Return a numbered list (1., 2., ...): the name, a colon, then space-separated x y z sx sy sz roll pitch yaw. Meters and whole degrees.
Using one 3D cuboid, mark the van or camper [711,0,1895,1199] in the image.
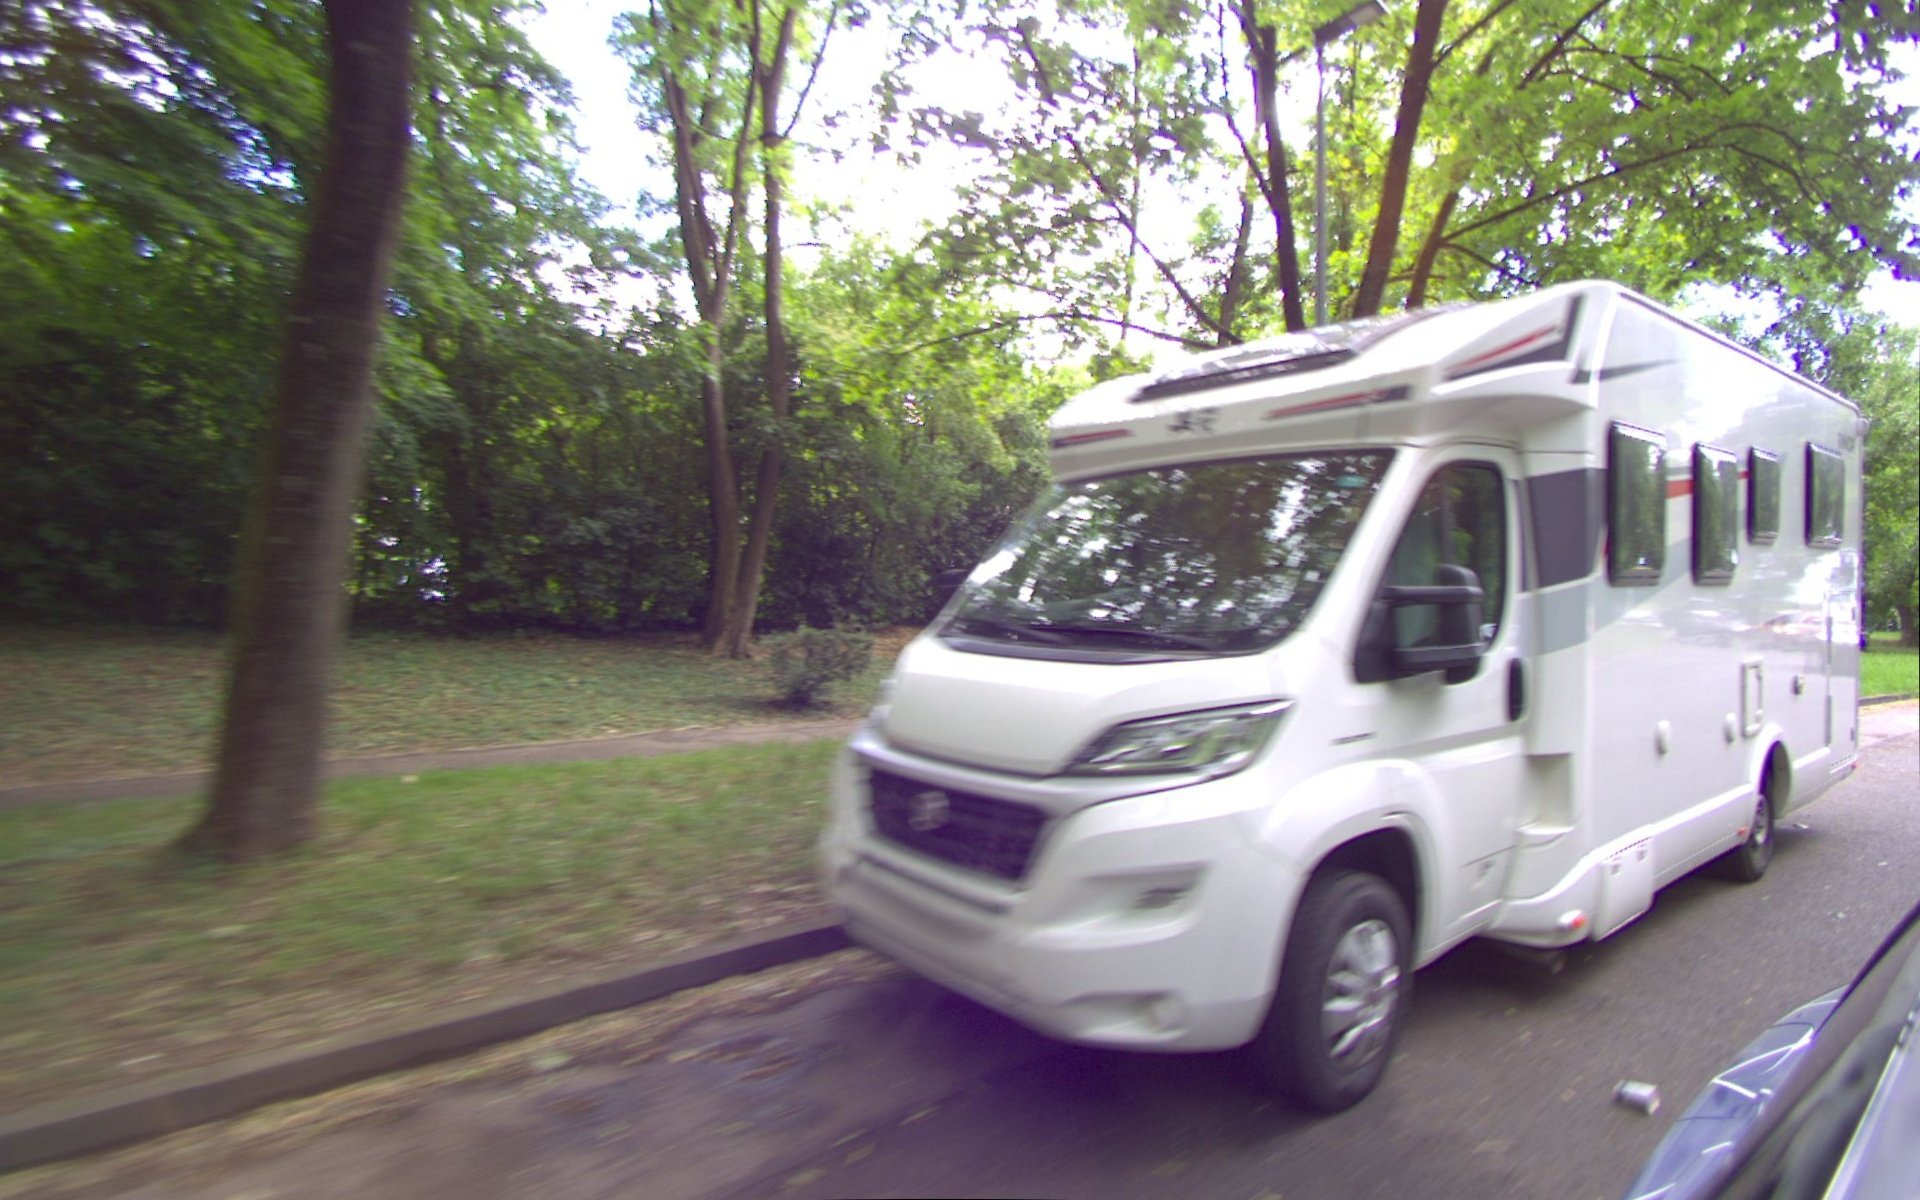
1. van or camper: 2.577 -0.104 5.391 7.259 3.017 2.430 0 0 -39
